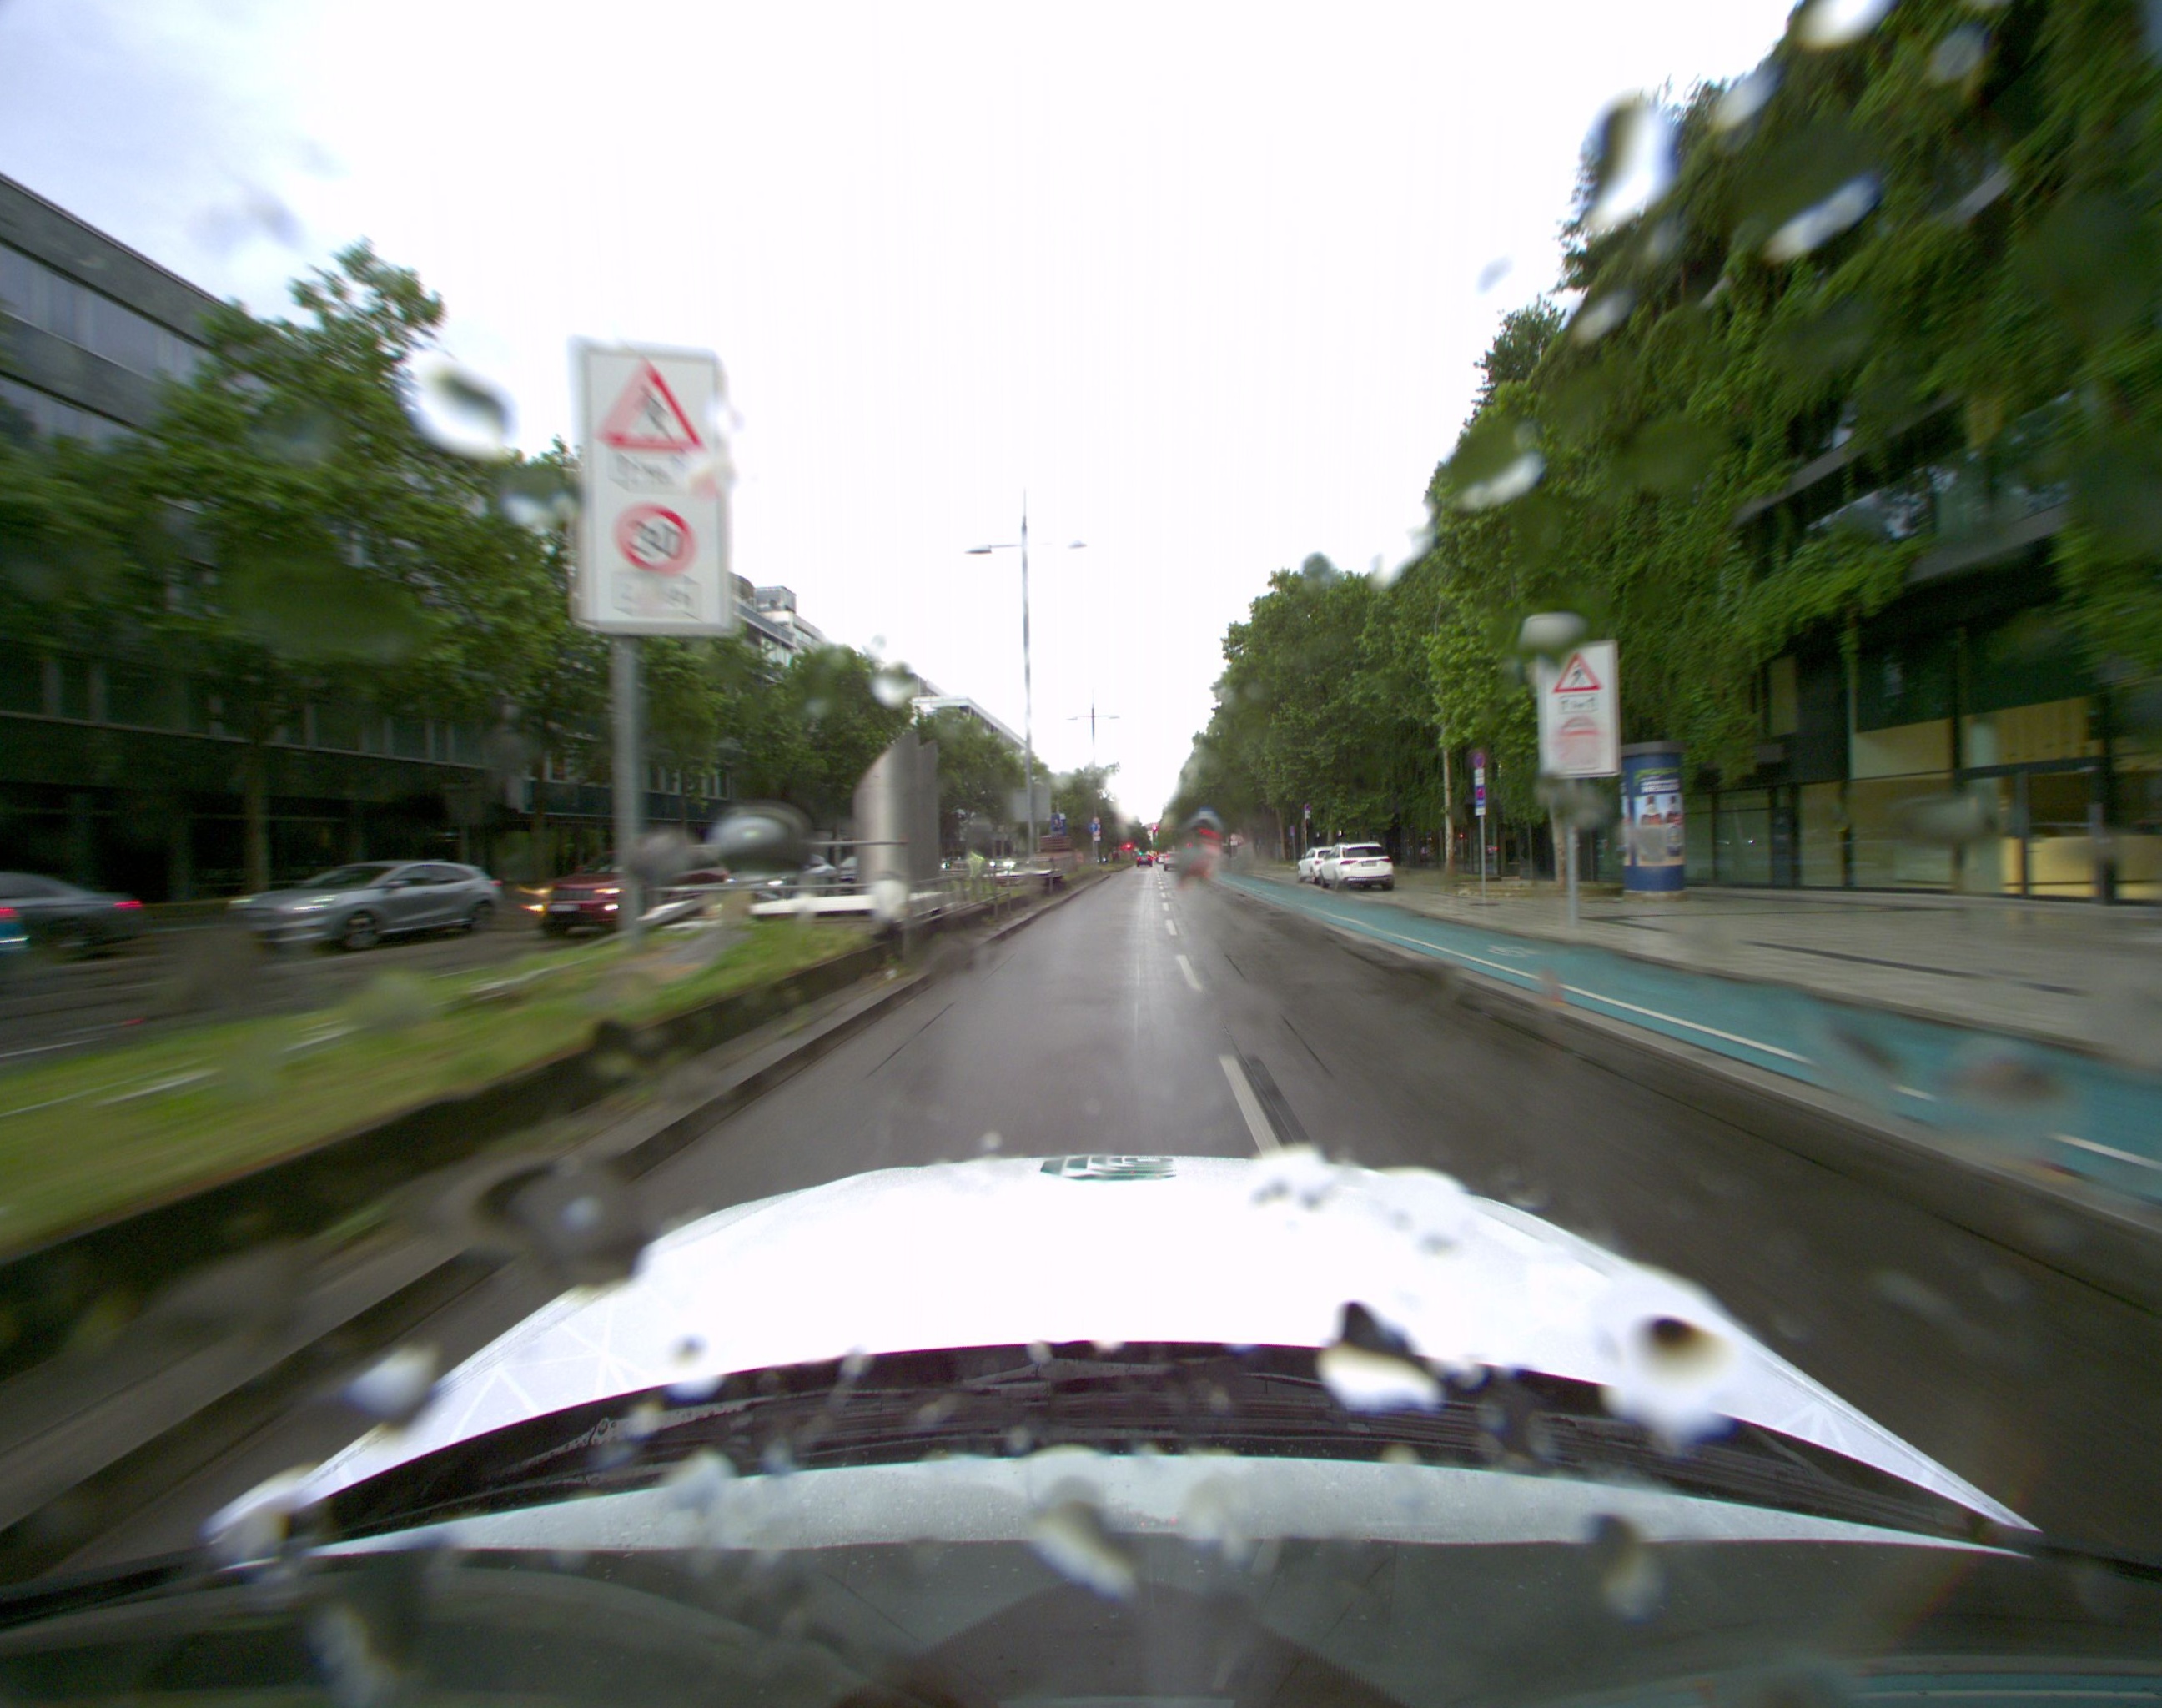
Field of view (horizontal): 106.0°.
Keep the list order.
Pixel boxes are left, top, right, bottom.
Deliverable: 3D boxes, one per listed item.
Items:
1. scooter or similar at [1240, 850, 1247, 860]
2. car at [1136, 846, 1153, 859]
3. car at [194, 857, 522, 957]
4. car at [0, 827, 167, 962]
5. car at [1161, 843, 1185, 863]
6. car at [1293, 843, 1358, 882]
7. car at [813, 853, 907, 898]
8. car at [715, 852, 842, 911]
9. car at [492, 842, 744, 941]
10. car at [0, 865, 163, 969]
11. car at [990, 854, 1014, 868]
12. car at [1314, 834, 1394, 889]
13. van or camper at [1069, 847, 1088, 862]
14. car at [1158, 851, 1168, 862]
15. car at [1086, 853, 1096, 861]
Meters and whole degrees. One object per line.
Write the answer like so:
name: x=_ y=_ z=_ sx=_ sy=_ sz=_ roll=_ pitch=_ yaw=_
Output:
scooter or similar: x=19.651 y=0.093 z=98.421 sx=0.377 sy=1.228 sz=1.086 roll=-1 pitch=0 yaw=41
car: x=7.530 y=-0.182 z=96.881 sx=1.910 sy=1.491 sz=4.005 roll=-1 pitch=0 yaw=4
car: x=-13.000 y=0.851 z=15.151 sx=1.711 sy=1.491 sz=4.577 roll=-1 pitch=1 yaw=6
car: x=-13.421 y=0.477 z=9.133 sx=1.746 sy=1.565 sz=4.002 roll=0 pitch=0 yaw=2
car: x=8.297 y=-0.093 z=73.712 sx=1.984 sy=1.655 sz=4.895 roll=-1 pitch=0 yaw=4
car: x=10.941 y=0.351 z=36.787 sx=1.835 sy=1.632 sz=4.792 roll=-1 pitch=0 yaw=4
car: x=-8.507 y=0.788 z=31.839 sx=1.903 sy=1.552 sz=4.551 roll=-1 pitch=1 yaw=7
car: x=-9.118 y=0.751 z=25.038 sx=1.726 sy=1.573 sz=4.839 roll=-1 pitch=1 yaw=5
car: x=-9.410 y=0.647 z=17.197 sx=1.825 sy=1.766 sz=5.121 roll=-1 pitch=1 yaw=8
car: x=-16.529 y=0.953 z=11.463 sx=1.883 sy=1.446 sz=4.591 roll=-1 pitch=1 yaw=2
car: x=-8.411 y=0.731 z=87.245 sx=1.959 sy=1.409 sz=4.959 roll=-1 pitch=1 yaw=2
car: x=10.244 y=0.240 z=30.950 sx=1.834 sy=1.838 sz=5.103 roll=-2 pitch=0 yaw=7
van or camper: x=-0.331 y=0.079 z=106.891 sx=1.984 sy=1.913 sz=5.258 roll=-1 pitch=1 yaw=4
car: x=13.854 y=0.409 z=138.107 sx=1.613 sy=1.666 sz=4.005 roll=-1 pitch=0 yaw=5
car: x=2.063 y=0.589 z=164.427 sx=1.835 sy=1.429 sz=3.648 roll=-1 pitch=1 yaw=5
